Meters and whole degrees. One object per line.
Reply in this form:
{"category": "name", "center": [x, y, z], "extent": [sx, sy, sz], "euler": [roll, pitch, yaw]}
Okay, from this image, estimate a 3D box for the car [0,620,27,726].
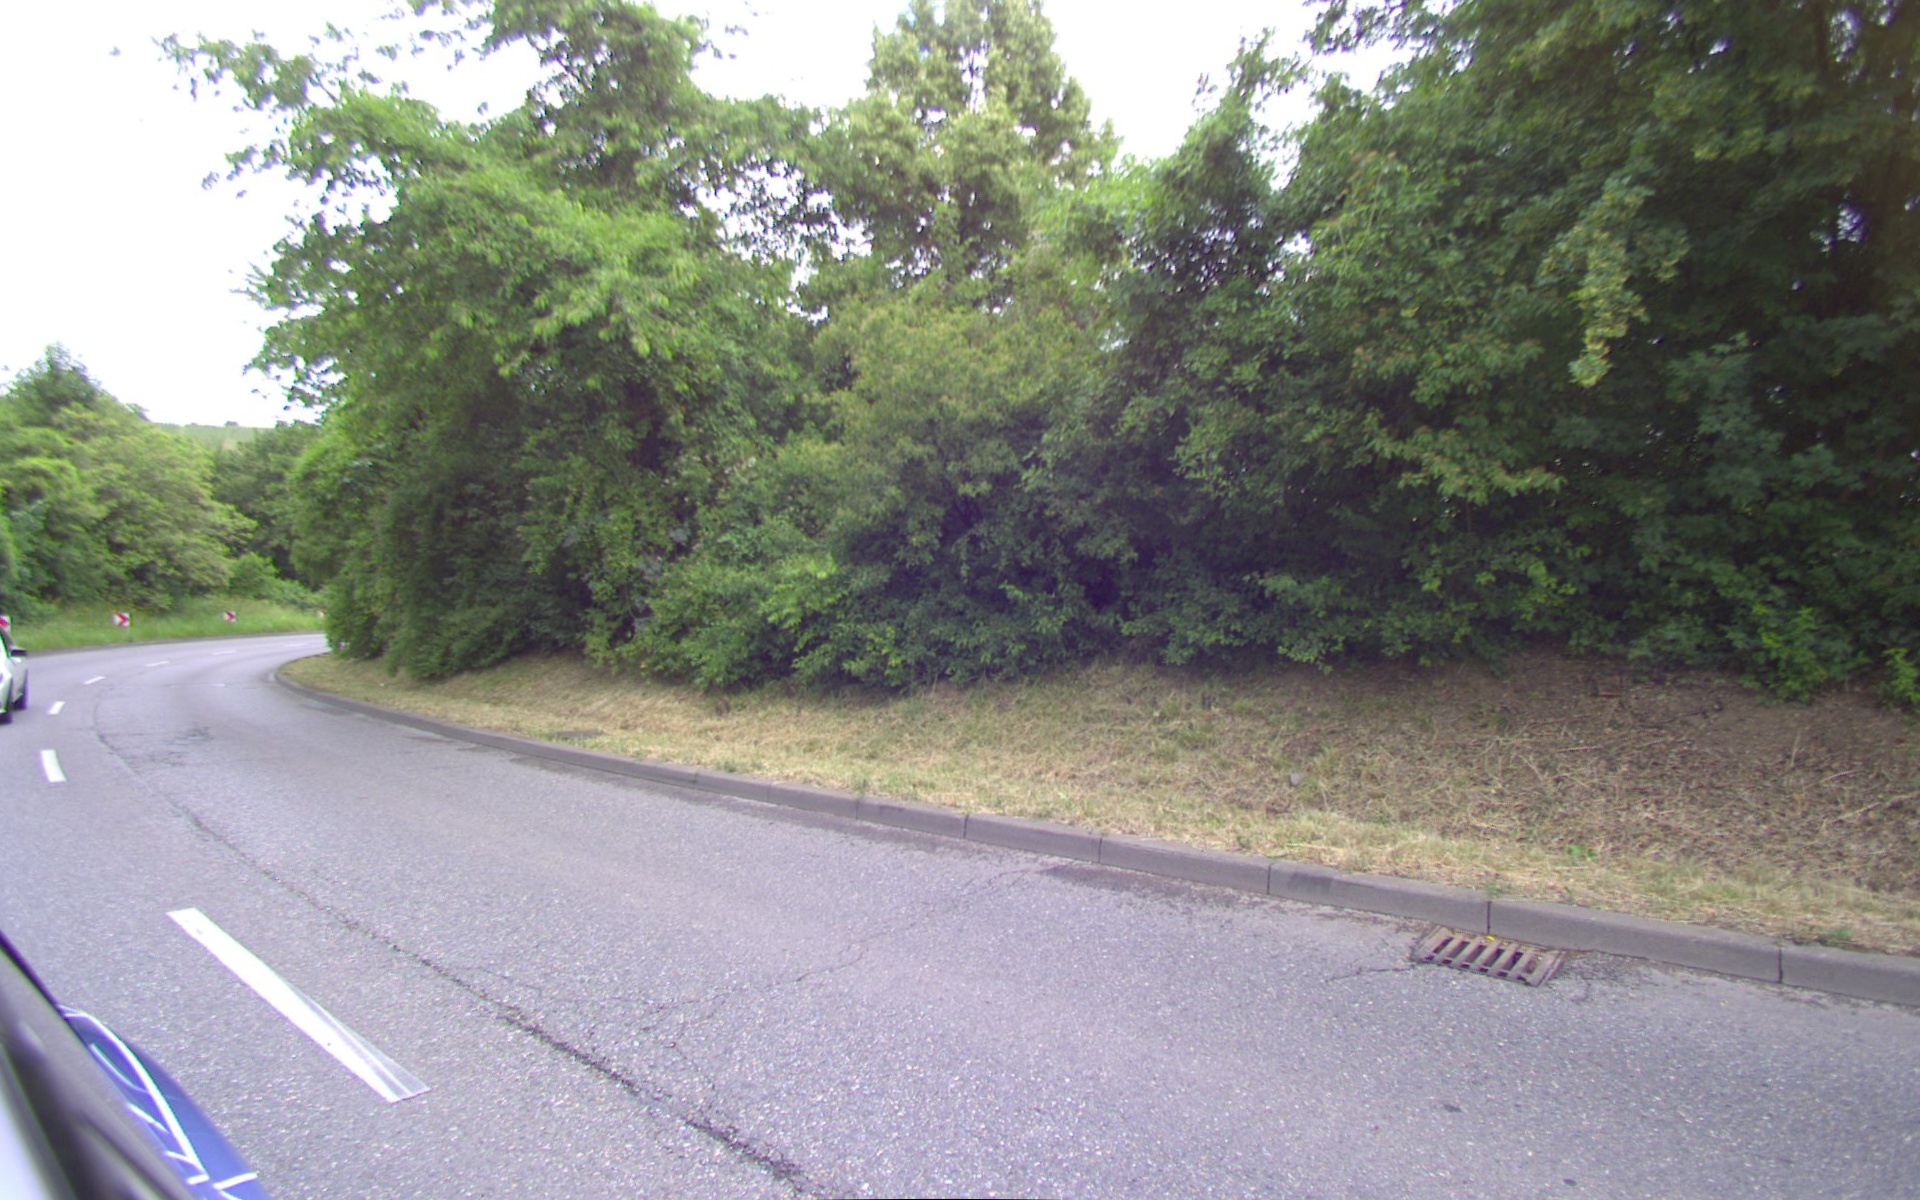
{"category": "car", "center": [-15.147, 1.019, 14.894], "extent": [1.838, 1.442, 4.363], "euler": [1, -1, -40]}
